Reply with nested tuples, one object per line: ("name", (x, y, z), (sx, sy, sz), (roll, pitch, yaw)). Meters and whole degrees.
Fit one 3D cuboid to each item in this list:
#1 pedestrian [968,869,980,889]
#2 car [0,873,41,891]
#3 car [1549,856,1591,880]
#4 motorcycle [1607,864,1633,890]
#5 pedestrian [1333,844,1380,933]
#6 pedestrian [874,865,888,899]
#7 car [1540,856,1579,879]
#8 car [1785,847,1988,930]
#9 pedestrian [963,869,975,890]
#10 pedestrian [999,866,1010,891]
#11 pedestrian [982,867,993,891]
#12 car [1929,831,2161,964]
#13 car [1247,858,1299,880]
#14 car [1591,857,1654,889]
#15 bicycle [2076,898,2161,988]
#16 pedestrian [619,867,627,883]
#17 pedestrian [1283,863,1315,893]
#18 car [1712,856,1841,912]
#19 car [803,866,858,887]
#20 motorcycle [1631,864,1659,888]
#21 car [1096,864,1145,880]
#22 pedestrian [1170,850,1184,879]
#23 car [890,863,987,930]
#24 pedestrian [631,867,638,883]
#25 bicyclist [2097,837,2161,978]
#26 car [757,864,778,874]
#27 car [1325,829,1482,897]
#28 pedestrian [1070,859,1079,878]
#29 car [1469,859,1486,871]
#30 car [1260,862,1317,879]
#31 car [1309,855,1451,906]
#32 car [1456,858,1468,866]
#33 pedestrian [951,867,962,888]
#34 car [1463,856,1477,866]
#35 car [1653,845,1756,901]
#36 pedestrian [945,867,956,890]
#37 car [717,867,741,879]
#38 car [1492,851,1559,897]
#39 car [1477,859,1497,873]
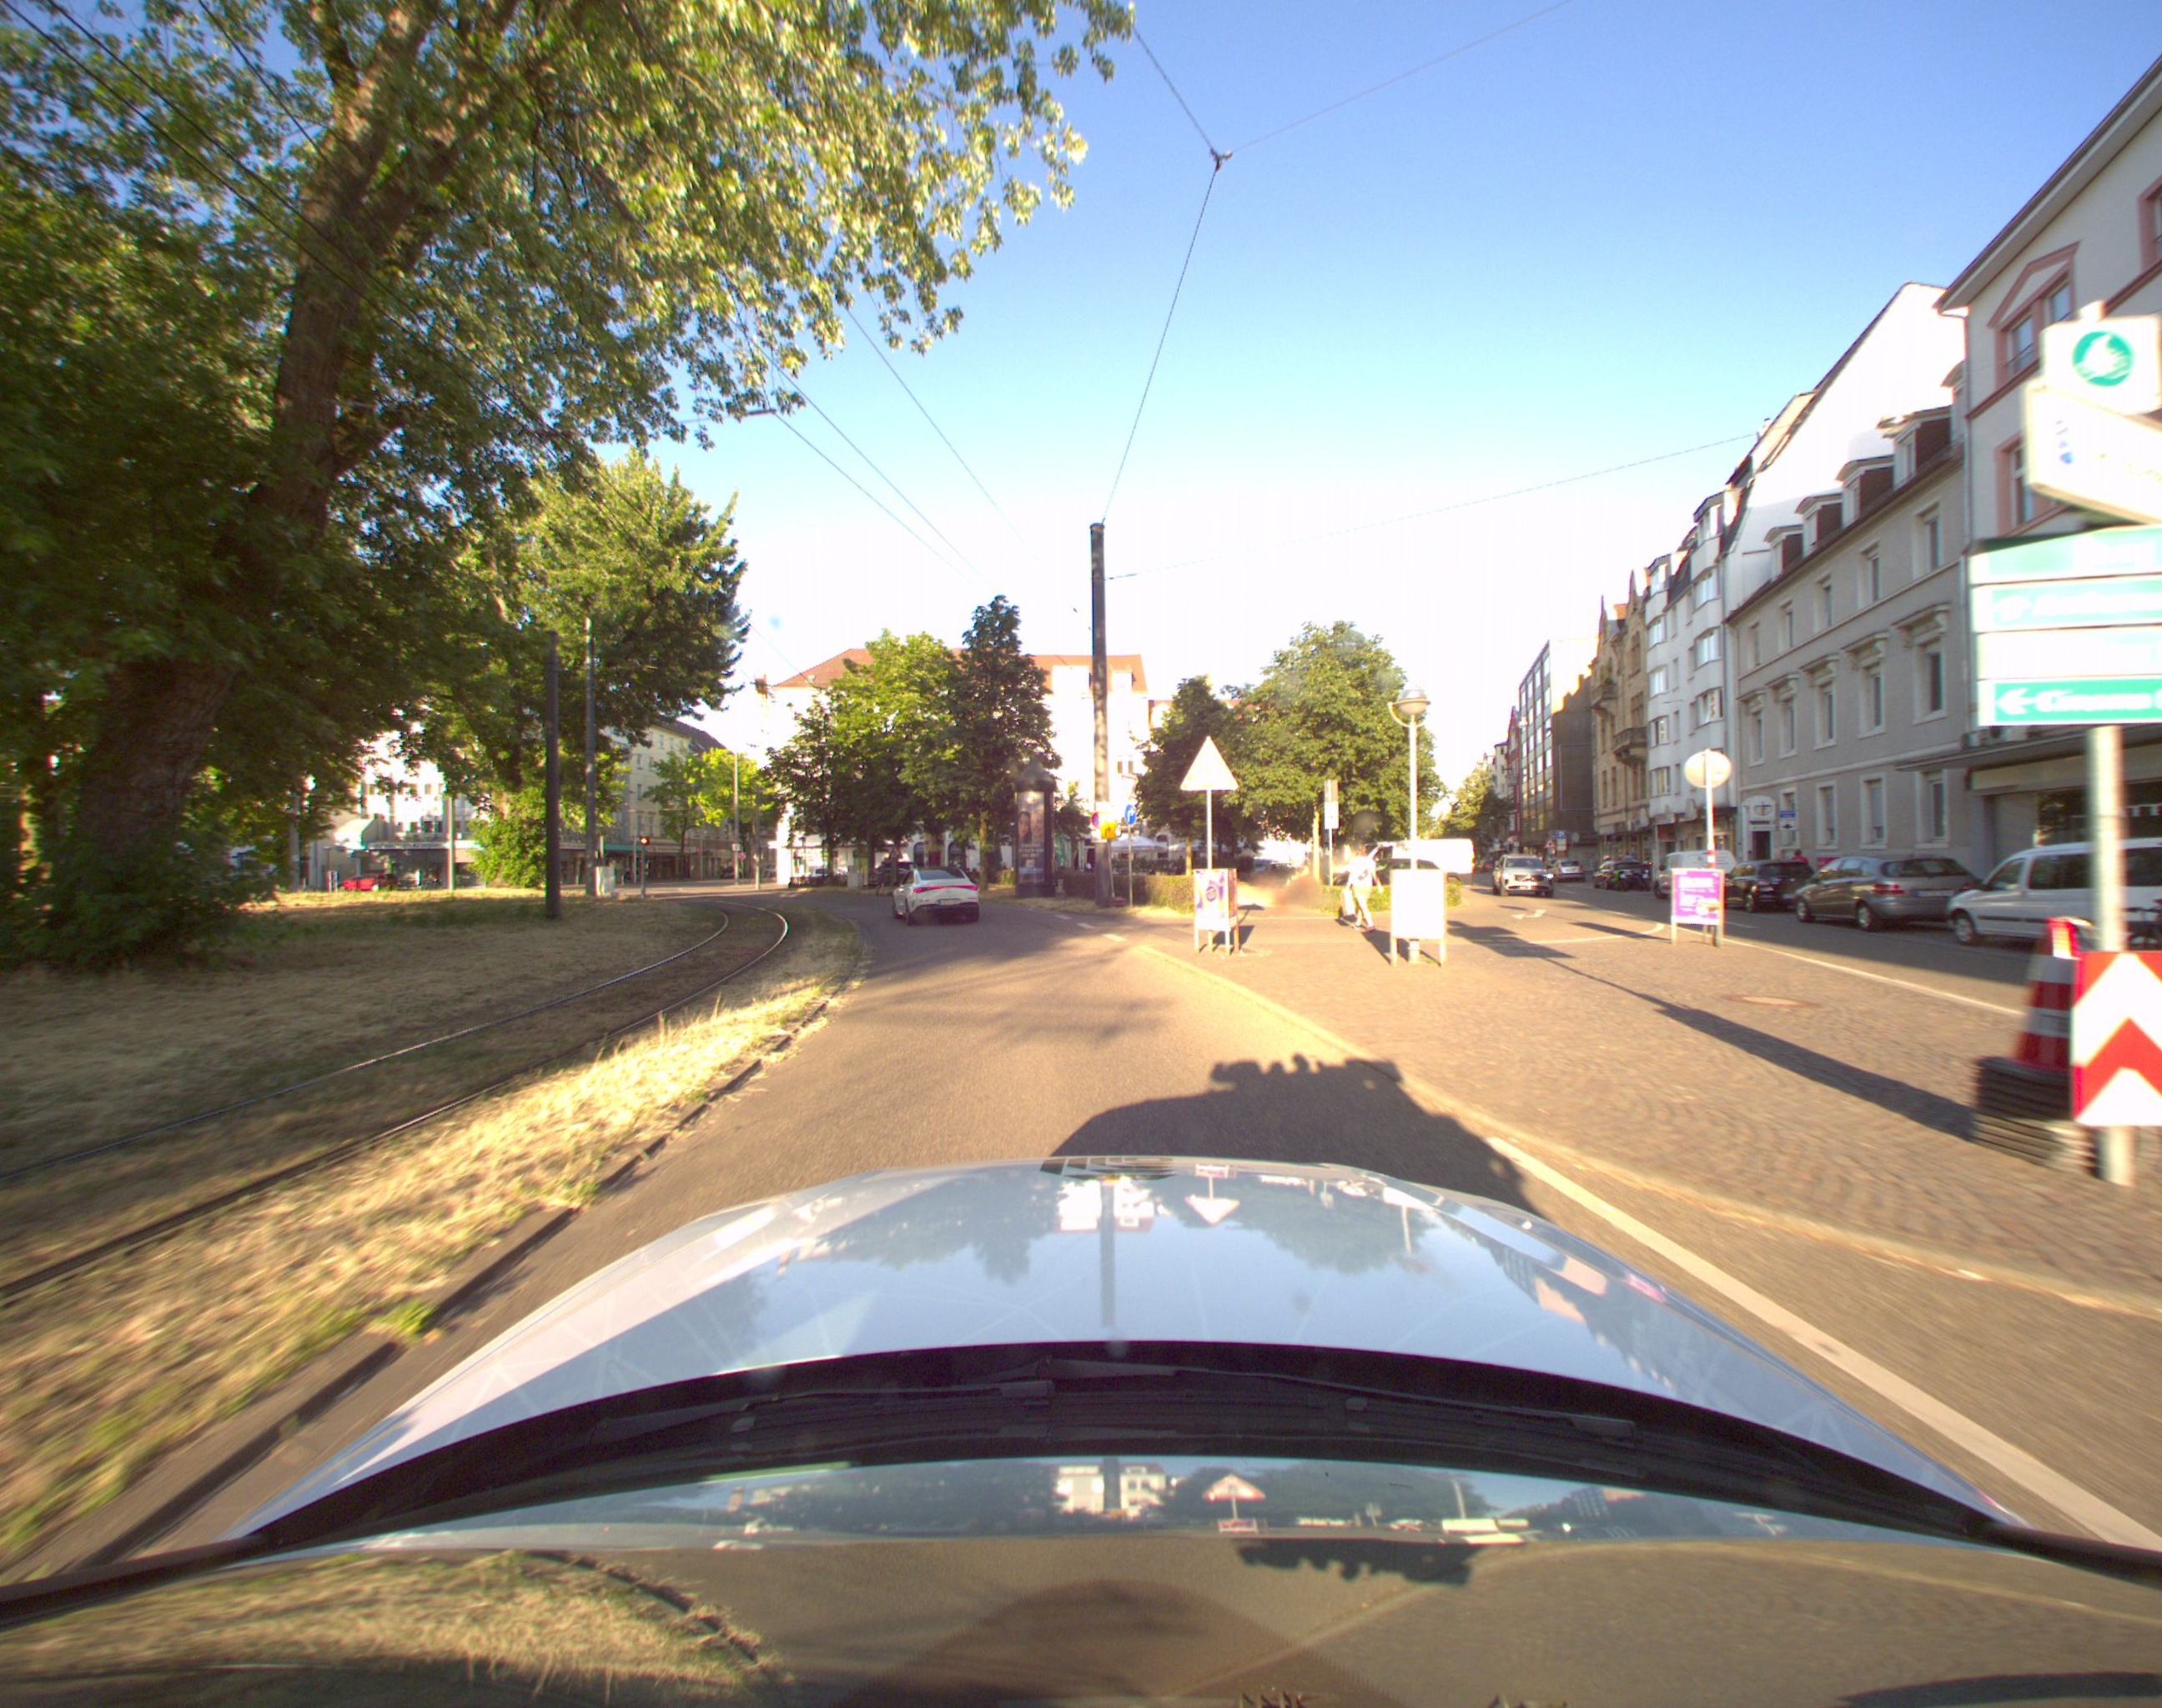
("pedestrian", (-7.375, 1.739, 56.109), (0.662, 1.352, 0.661), (-1, -1, 10))
("car", (-78.758, 2.039, 59.071), (3.955, 1.255, 1.597), (0, 0, -11))
("car", (32.318, 0.919, 53.886), (1.737, 1.511, 3.563), (-3, -1, 20))
("motorcycle", (25.448, 1.086, 38.486), (0.483, 1.174, 1.613), (-3, -1, 15))
("pedestrian", (5.477, 0.663, 16.244), (0.853, 1.706, 0.945), (0, -1, 16))
("pedestrian", (-9.506, 1.314, 38.680), (0.562, 1.566, 0.590), (0, -1, -24))
("car", (34.048, 0.950, 58.009), (1.737, 1.511, 3.563), (-3, -1, 20))
("car", (17.549, 0.709, 18.010), (1.719, 1.617, 3.937), (-3, -1, 22))
("pedestrian", (-7.607, 1.736, 55.355), (0.662, 1.352, 0.661), (-1, -1, 10))
("pedestrian", (-4.937, 1.580, 52.315), (0.531, 1.549, 0.661), (-1, -1, 10))
("pedestrian", (-5.946, 1.574, 51.657), (0.531, 1.498, 0.661), (-1, -1, 10))
("car", (15.710, 0.587, 12.814), (1.719, 1.800, 3.937), (-3, -1, 22))
("car", (16.280, 1.287, 69.029), (3.975, 1.782, 1.852), (0, -1, -1))
("car", (27.437, 0.926, 41.363), (1.737, 1.511, 3.995), (-3, -1, 20))
("bicycle", (12.938, 1.067, 9.647), (0.574, 0.987, 1.946), (0, 0, 22))
("pedestrian", (-49.038, 2.253, 87.213), (0.477, 1.701, 0.541), (0, -1, -1))
("pedestrian", (9.280, 1.009, 34.694), (1.095, 1.226, 0.859), (0, 0, -4))
("car", (20.057, 0.822, 23.658), (1.719, 1.462, 3.604), (-3, -1, 22))
("car", (-19.047, 1.716, 62.032), (3.602, 1.552, 1.661), (-1, -1, -1))
("motorcycle", (26.076, 1.013, 37.701), (0.483, 1.043, 1.842), (-4, -1, 18))
("car", (3.217, 1.468, 66.917), (3.975, 1.301, 1.852), (-1, -1, -1))
("pedestrian", (6.486, 0.696, 55.020), (0.927, 1.923, 0.859), (-1, -1, 8))
("car", (-3.921, 1.039, 21.843), (1.871, 1.441, 4.170), (-4, 1, -18))
("pedestrian", (-47.879, 2.258, 87.363), (0.477, 1.701, 0.541), (0, -1, -1))
("bicyclist", (12.835, 0.614, 9.523), (0.770, 1.618, 1.030), (0, 0, 21))
("car", (-46.116, 2.183, 119.892), (1.651, 1.477, 3.624), (-1, -1, 0))
("car", (12.883, 0.332, 32.778), (5.502, 2.595, 2.151), (0, -1, -5))
("pedestrian", (-0.641, 1.404, 78.526), (0.853, 1.866, 0.934), (0, -1, -4))
("car", (53.305, 1.475, 109.492), (1.737, 1.511, 3.563), (-3, -1, 20))
("car", (16.258, 1.292, 63.917), (3.975, 1.301, 1.852), (-1, -1, -1))
("car", (9.704, 0.830, 26.573), (3.989, 1.552, 1.871), (0, -1, -11))
("car", (73.560, 1.485, 157.127), (1.737, 1.511, 3.563), (-3, -1, 20))
("pedestrian", (-8.276, 1.570, 54.000), (0.531, 1.379, 0.661), (-1, -1, 10))
("car", (61.277, 1.156, 128.312), (1.737, 1.511, 3.563), (-3, -1, 20))
("car", (22.461, 0.661, 29.522), (1.908, 1.841, 4.039), (-3, -1, 23))
("pedestrian", (-8.379, 1.565, 52.317), (0.531, 1.498, 0.661), (-1, -1, 10))
("car", (-46.154, 2.489, 106.713), (1.652, 1.477, 3.621), (0, -1, -2))
("car", (18.534, 0.801, 34.098), (1.976, 1.772, 4.021), (-1, 0, 22))
("car", (48.384, 1.423, 97.159), (1.737, 1.511, 3.563), (-3, -1, 20))
